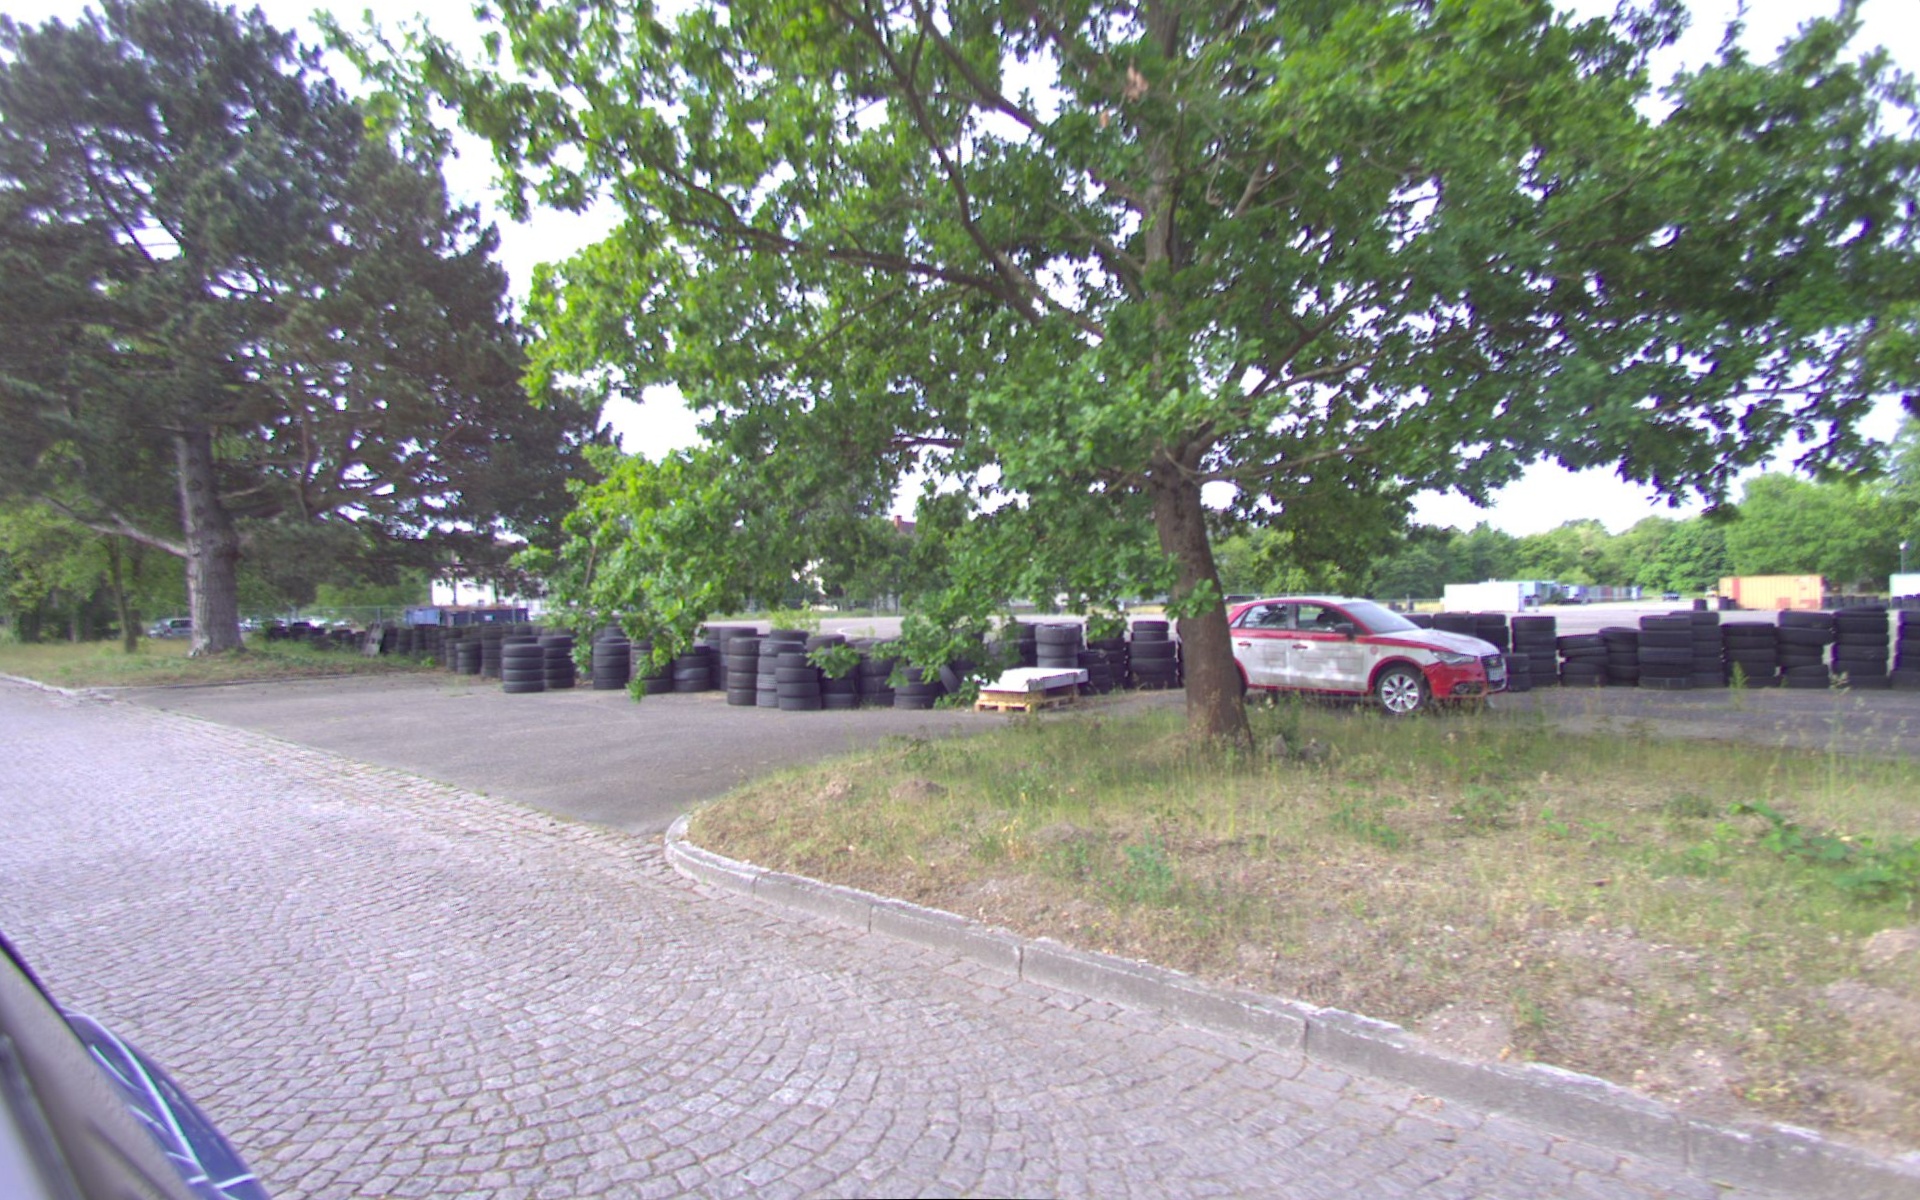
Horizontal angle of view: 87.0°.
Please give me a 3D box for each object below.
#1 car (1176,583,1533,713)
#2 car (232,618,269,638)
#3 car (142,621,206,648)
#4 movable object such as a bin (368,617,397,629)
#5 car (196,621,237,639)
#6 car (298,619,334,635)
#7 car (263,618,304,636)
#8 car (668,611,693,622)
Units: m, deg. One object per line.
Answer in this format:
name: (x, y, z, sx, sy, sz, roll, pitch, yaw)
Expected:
car: (5.043, 0.583, 13.353, 1.606, 1.444, 4.067, -1, -1, -43)
car: (-62.564, 2.460, 89.194, 3.894, 1.531, 1.653, -4, -2, 39)
car: (-42.709, 1.867, 54.952, 4.416, 1.427, 1.806, -2, -3, 39)
movable object such as a bin: (-49.123, 1.928, 86.111, 1.953, 0.976, 1.431, -2, 0, 34)
car: (-64.139, 2.597, 87.284, 4.315, 1.436, 1.807, -2, 0, 39)
car: (-59.730, 2.500, 93.861, 4.033, 1.410, 1.617, -2, 0, 39)
car: (-61.169, 2.433, 91.450, 4.397, 1.486, 1.807, -2, 0, 39)
car: (-37.358, 2.241, 135.312, 1.684, 1.361, 4.411, -1, 0, -38)
